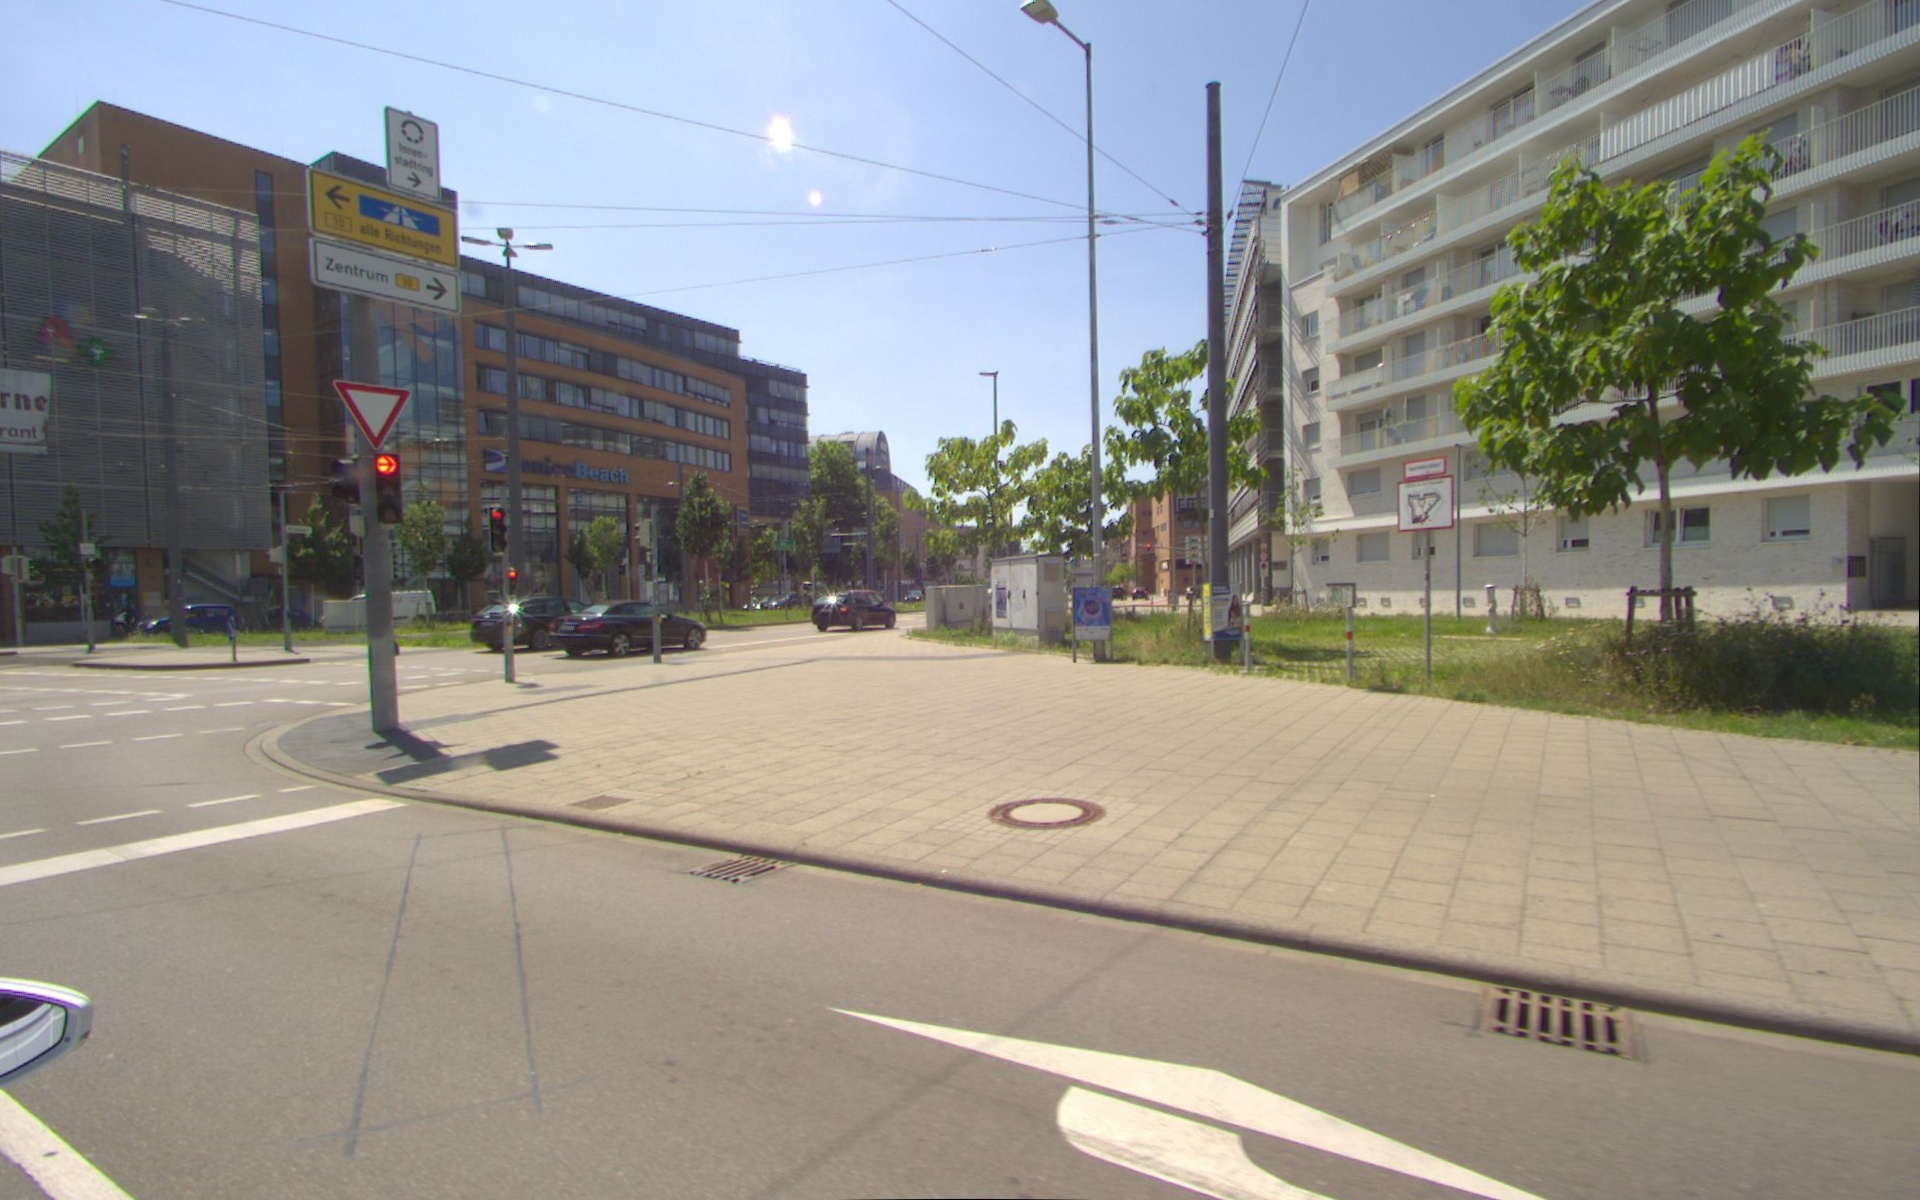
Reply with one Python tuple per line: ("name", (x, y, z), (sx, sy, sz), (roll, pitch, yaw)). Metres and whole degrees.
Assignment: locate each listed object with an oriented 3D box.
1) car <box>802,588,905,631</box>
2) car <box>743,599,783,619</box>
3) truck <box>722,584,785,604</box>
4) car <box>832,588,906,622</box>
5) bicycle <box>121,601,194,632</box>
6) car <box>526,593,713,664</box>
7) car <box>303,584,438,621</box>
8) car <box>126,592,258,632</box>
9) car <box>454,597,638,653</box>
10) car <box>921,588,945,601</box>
("car", (-4.053, 0.330, 38.828), (1.813, 1.528, 4.522), (0, 1, 26))
("car", (-16.376, 0.737, 83.467), (1.653, 1.550, 3.994), (0, 0, 17))
("truck", (-30.513, -0.849, 148.110), (9.067, 2.846, 1.998), (0, 1, 13))
("car", (-4.256, 0.245, 47.534), (1.811, 1.528, 4.128), (0, 0, 23))
("bicycle", (-41.202, 0.836, 51.471), (0.695, 1.578, 2.840), (1, 0, 36))
("car", (-8.877, 0.671, 26.531), (1.969, 1.598, 4.542), (0, 2, 29))
("car", (-28.434, 0.119, 48.529), (1.969, 1.690, 5.458), (0, 0, 28))
("car", (-31.907, 0.481, 41.706), (1.854, 1.559, 3.980), (0, 0, 31))
("car", (-11.742, 0.661, 28.755), (1.860, 1.480, 4.757), (0, 0, 31))
("car", (-3.472, -0.660, 128.139), (1.794, 1.689, 3.823), (0, 0, 21))
